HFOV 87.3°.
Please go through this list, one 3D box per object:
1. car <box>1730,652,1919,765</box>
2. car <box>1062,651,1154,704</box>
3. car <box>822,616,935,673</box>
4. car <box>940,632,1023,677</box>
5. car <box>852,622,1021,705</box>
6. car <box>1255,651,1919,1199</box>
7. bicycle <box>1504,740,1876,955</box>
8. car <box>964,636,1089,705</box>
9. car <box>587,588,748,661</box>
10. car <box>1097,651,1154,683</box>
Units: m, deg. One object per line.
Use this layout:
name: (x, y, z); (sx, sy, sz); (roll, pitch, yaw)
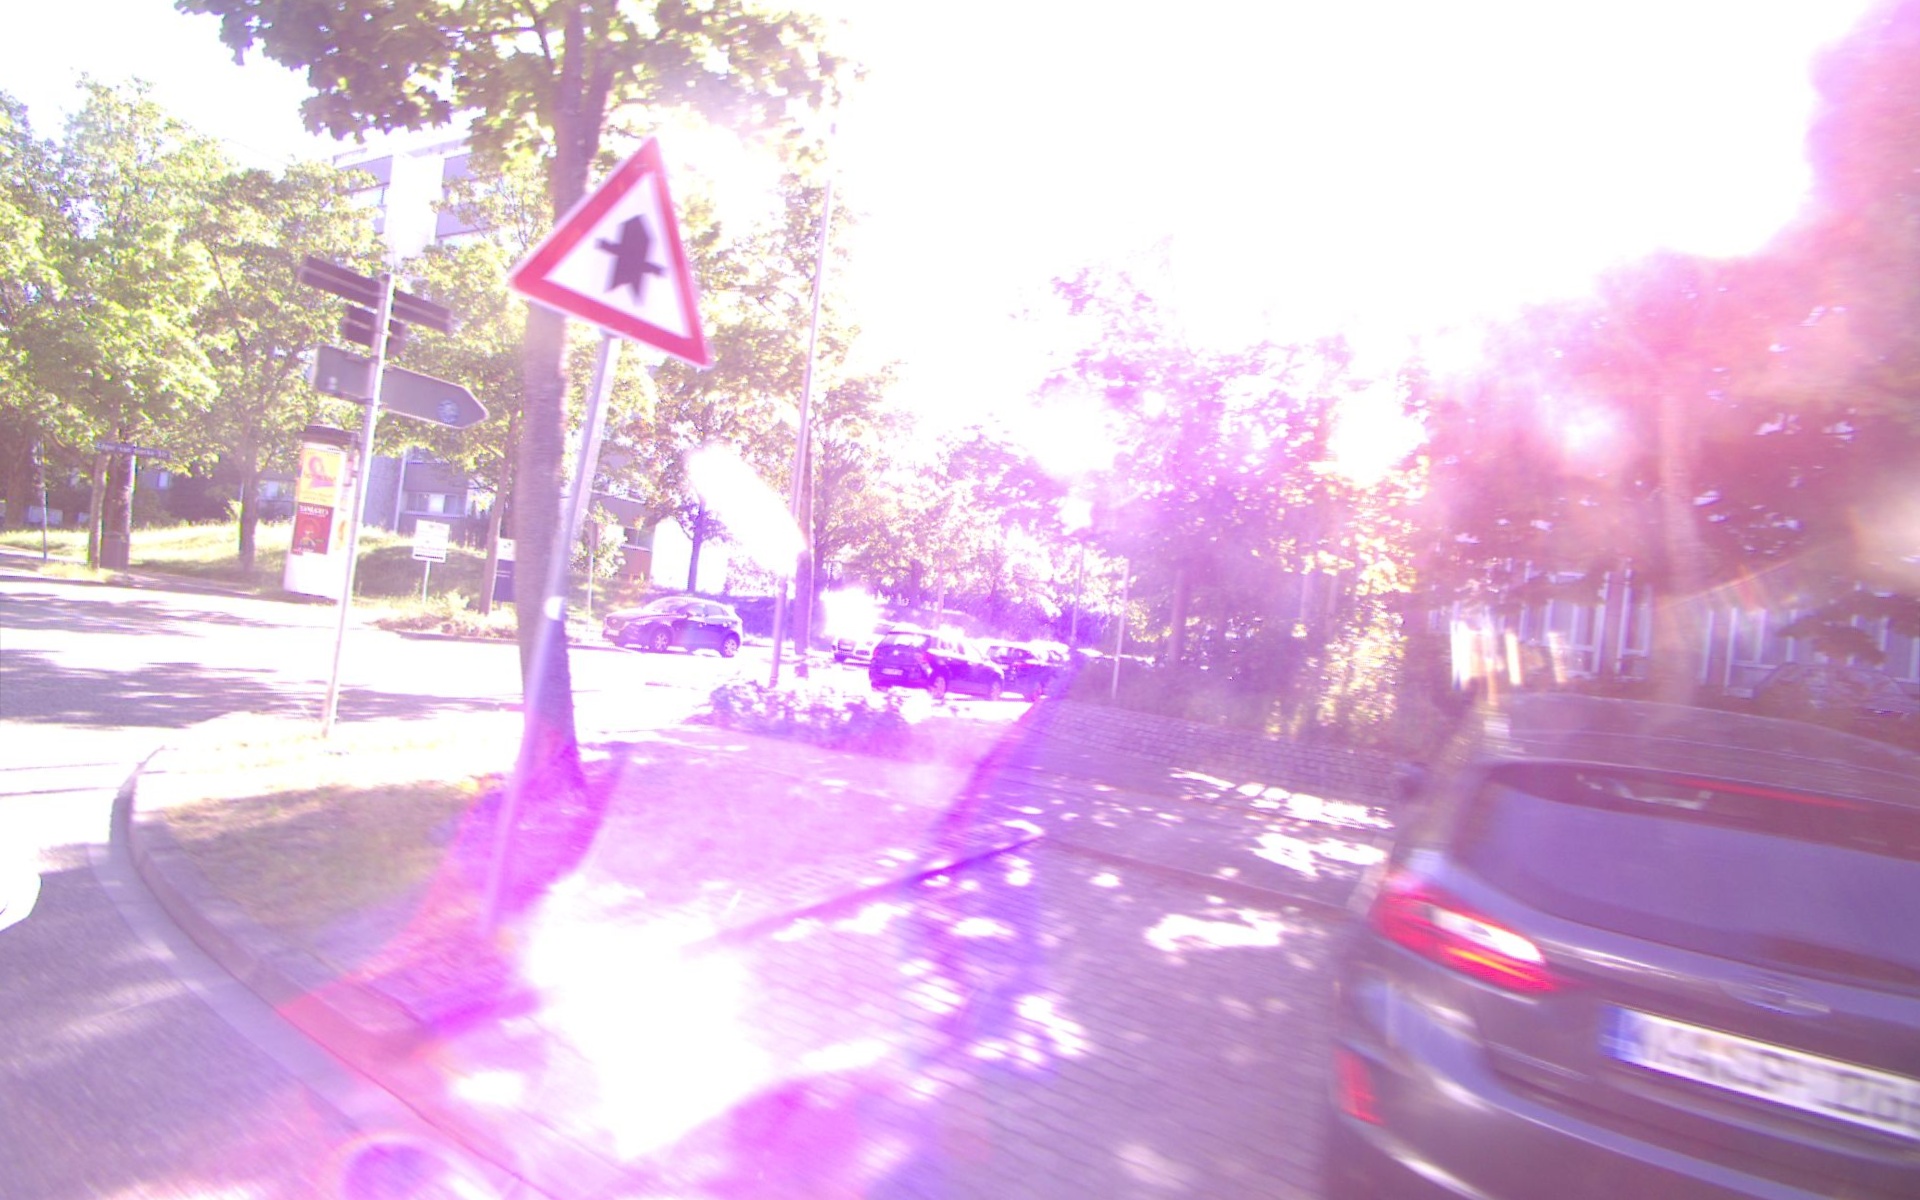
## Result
car: (14.885, 1.830, 17.205); (1.693, 1.524, 4.237); (7, -2, 25)
car: (4.609, 2.412, 30.904); (1.526, 1.319, 3.501); (6, -3, 30)
car: (-2.907, 1.668, 36.789); (1.804, 1.637, 4.456); (6, -3, 30)
car: (0.975, 2.394, 43.561); (1.804, 1.518, 4.016); (6, -3, 30)
car: (-0.409, 1.460, 22.218); (1.741, 1.464, 3.995); (5, -3, 31)
car: (2.302, 1.045, 3.577); (1.564, 1.466, 3.839); (8, 2, 28)
bicycle: (4.839, 1.605, 6.815); (1.926, 1.005, 0.302); (6, -2, 35)
car: (1.840, 1.902, 26.530); (1.623, 1.486, 3.853); (6, -3, 30)
car: (-7.932, 0.712, 27.618); (1.804, 1.548, 3.996); (7, -2, 30)
car: (9.645, 3.903, 58.453); (1.889, 1.462, 3.997); (6, -3, 30)
